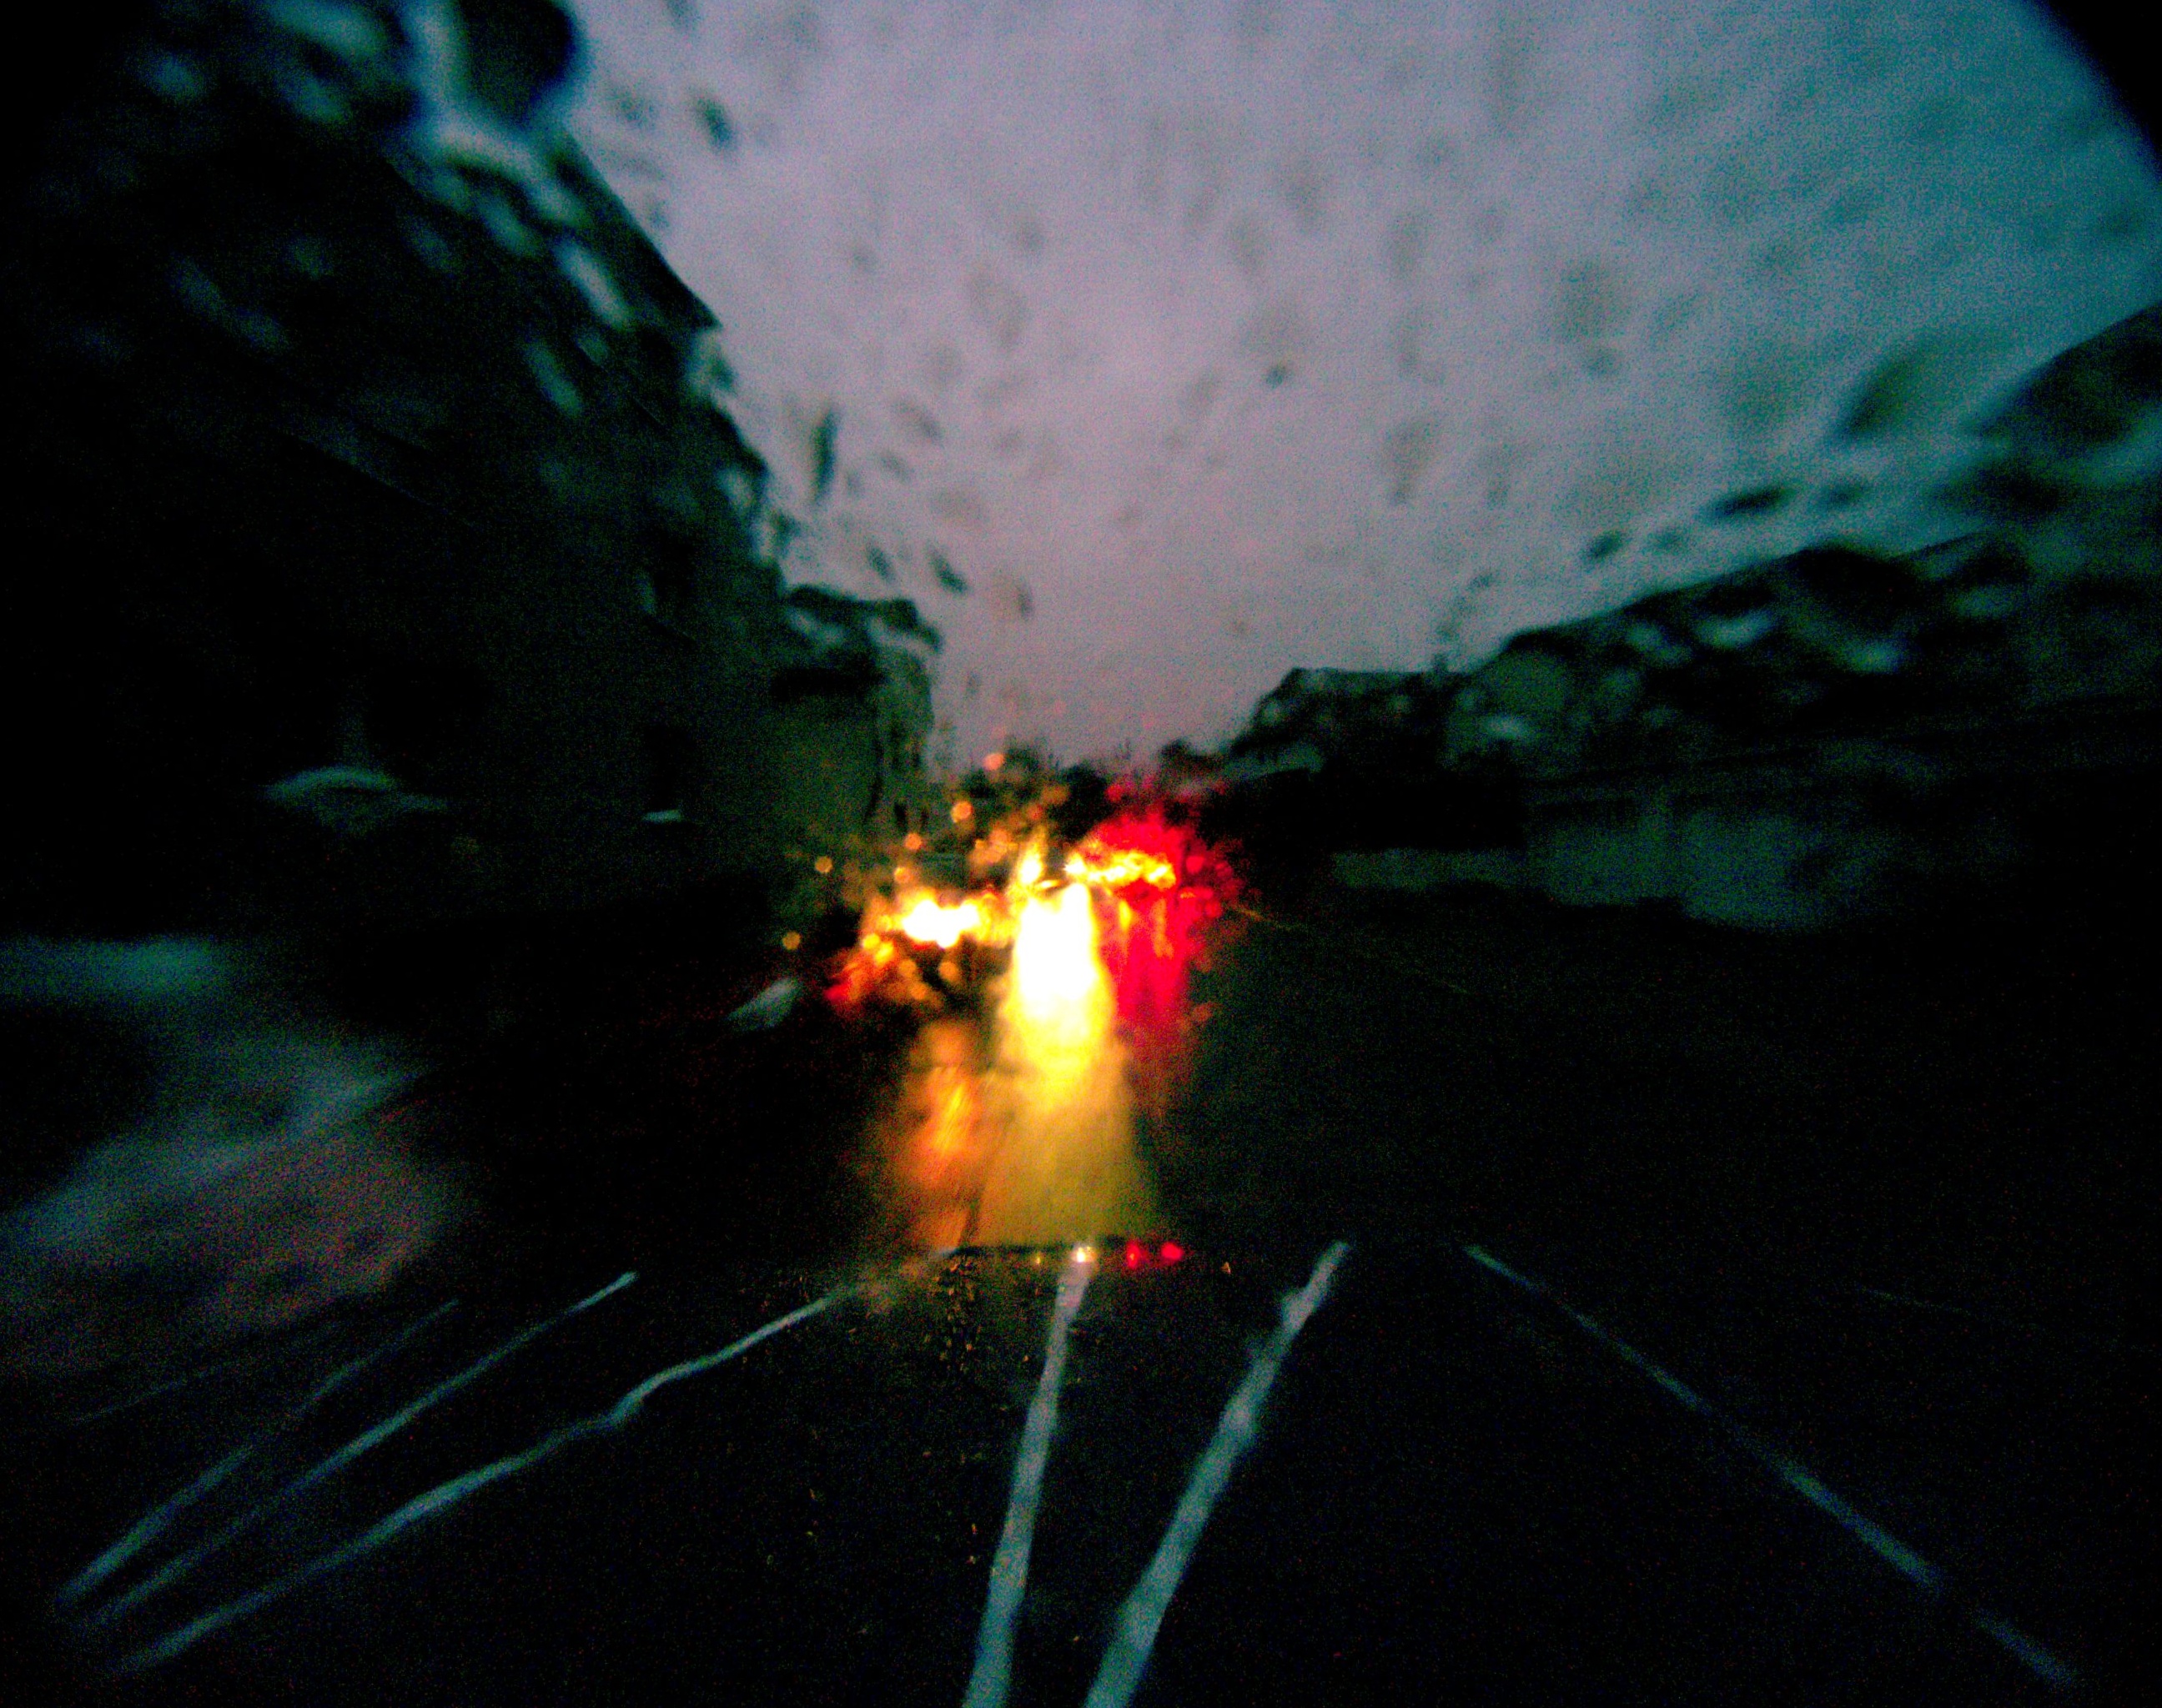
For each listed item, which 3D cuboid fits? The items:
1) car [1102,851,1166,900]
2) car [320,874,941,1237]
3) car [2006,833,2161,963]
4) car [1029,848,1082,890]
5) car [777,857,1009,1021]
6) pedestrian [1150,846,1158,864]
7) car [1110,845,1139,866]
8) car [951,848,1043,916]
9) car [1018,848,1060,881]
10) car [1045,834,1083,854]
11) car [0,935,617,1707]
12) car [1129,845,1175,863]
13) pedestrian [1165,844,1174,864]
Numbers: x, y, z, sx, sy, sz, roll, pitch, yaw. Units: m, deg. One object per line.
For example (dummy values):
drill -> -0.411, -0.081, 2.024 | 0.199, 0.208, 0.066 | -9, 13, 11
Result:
car -> 1.769, 0.685, 26.558 | 1.991, 1.489, 4.236 | -1, 1, 1
car -> -2.331, 0.928, 5.412 | 1.739, 1.398, 4.304 | -1, 0, 1
car -> 13.585, 0.438, 8.923 | 4.001, 1.395, 1.759 | -1, 1, -11
car -> -1.056, 0.556, 30.913 | 1.991, 1.549, 4.234 | -1, 1, -2
car -> -2.121, 0.875, 9.898 | 1.814, 1.530, 4.303 | -1, 1, 1
pedestrian -> 6.101, 0.079, 63.797 | 0.591, 1.463, 0.581 | -2, 1, 0
car -> 3.686, 0.094, 64.773 | 1.755, 1.652, 3.997 | -1, 1, -7
car -> -2.170, 0.686, 20.899 | 1.991, 1.639, 4.235 | -1, 1, 0
car -> -2.221, 0.469, 38.897 | 1.992, 1.549, 4.233 | -1, 1, -5
car -> -1.656, -0.946, 73.646 | 1.855, 1.873, 4.875 | -2, 1, -25
car -> -2.439, 1.031, 0.347 | 1.647, 1.469, 4.371 | -1, 0, 1
car -> 6.639, -0.007, 71.055 | 3.993, 1.652, 1.757 | -1, 1, 13
pedestrian -> 7.345, -0.007, 62.855 | 0.591, 1.562, 0.581 | -2, 2, 0
